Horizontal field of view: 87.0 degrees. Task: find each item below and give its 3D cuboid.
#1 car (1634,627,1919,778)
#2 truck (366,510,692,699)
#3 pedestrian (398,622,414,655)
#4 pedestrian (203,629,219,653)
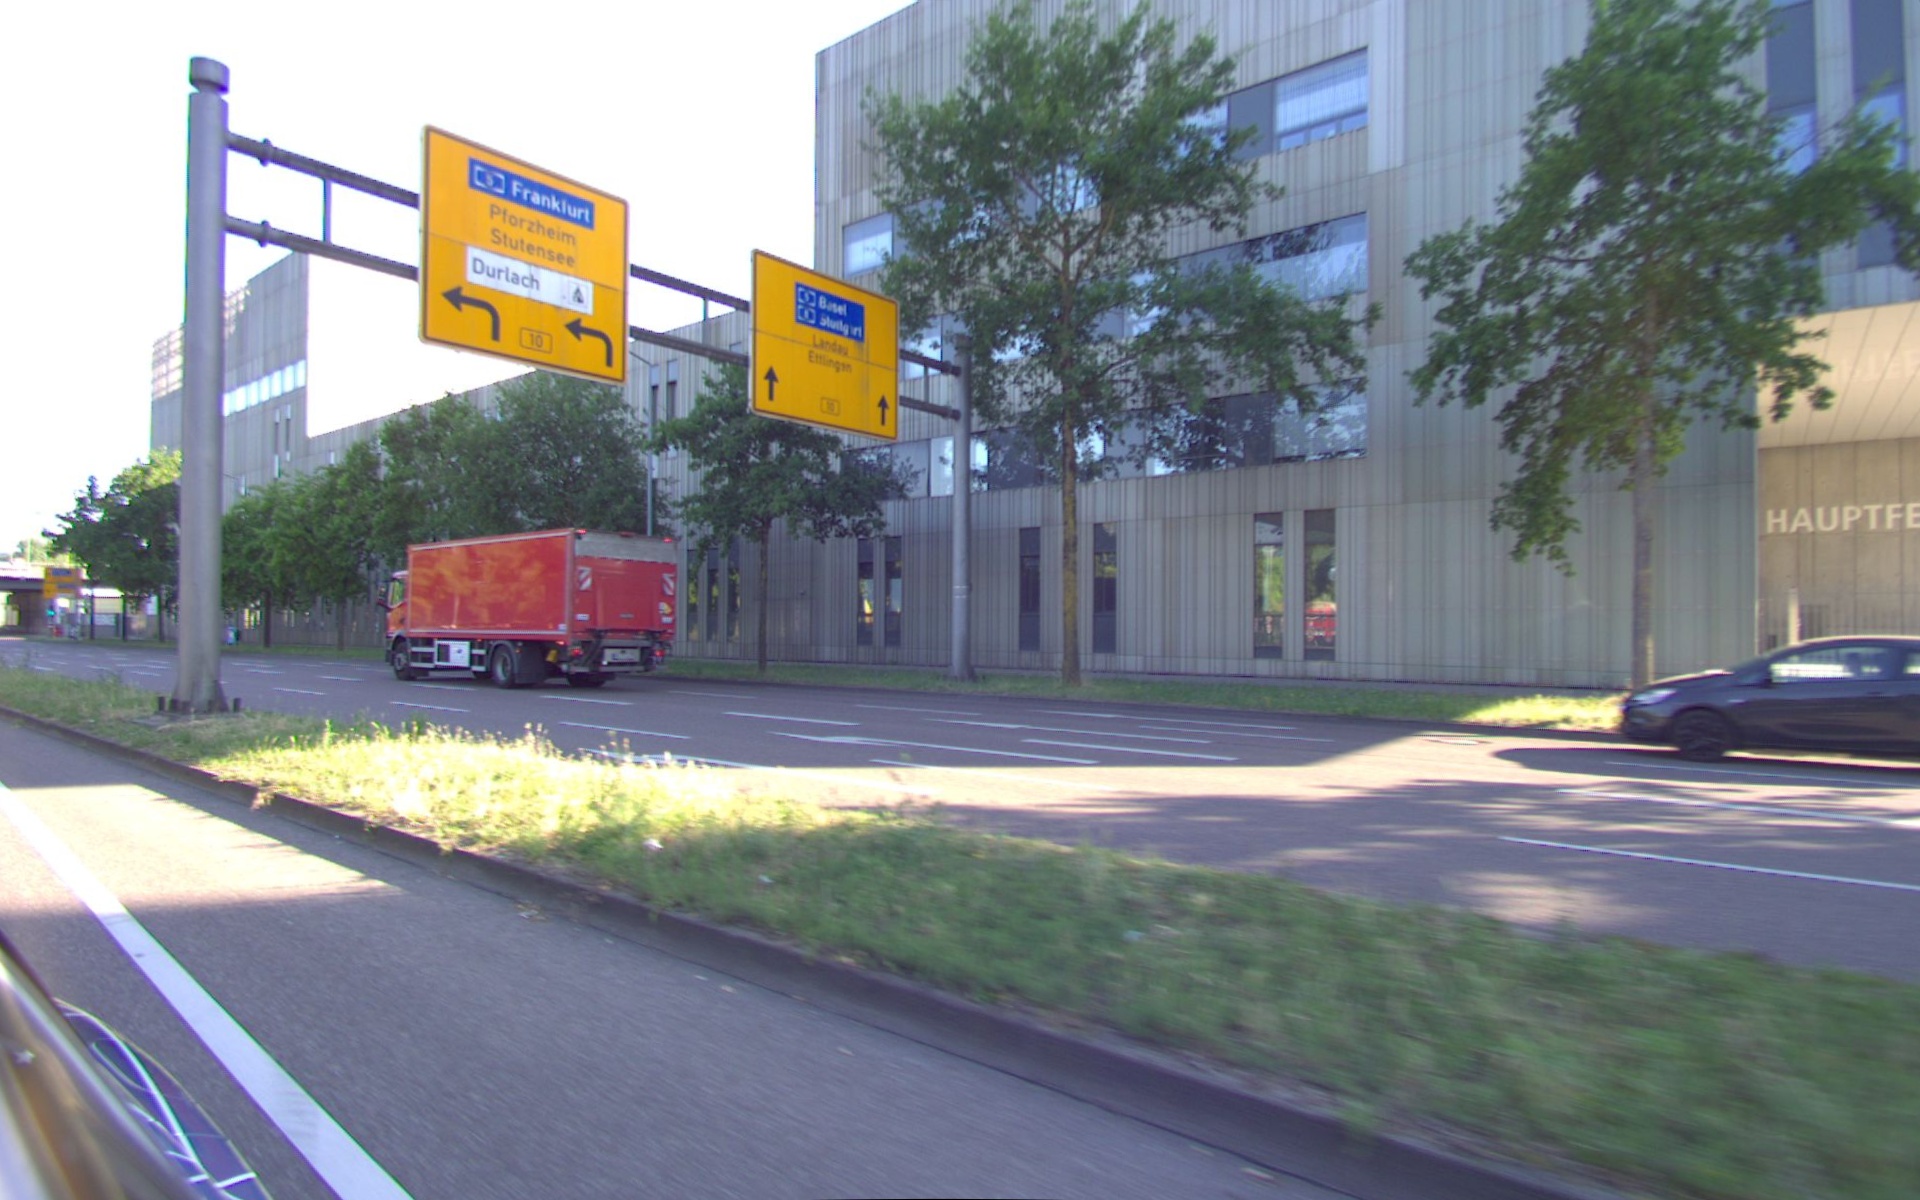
[{"bbox_3d":[9.894,1.072,11.252,3.863,1.524,1.580,-1,-2,39],"label":"car"},{"bbox_3d":[-10.906,0.208,24.883,10.077,3.840,2.969,-1,-2,39],"label":"truck"},{"bbox_3d":[-30.565,2.121,55.818,0.648,1.781,0.596,-1,-2,40],"label":"pedestrian"},{"bbox_3d":[-52.058,2.850,70.340,0.724,1.641,0.690,-1,-2,39],"label":"pedestrian"}]
